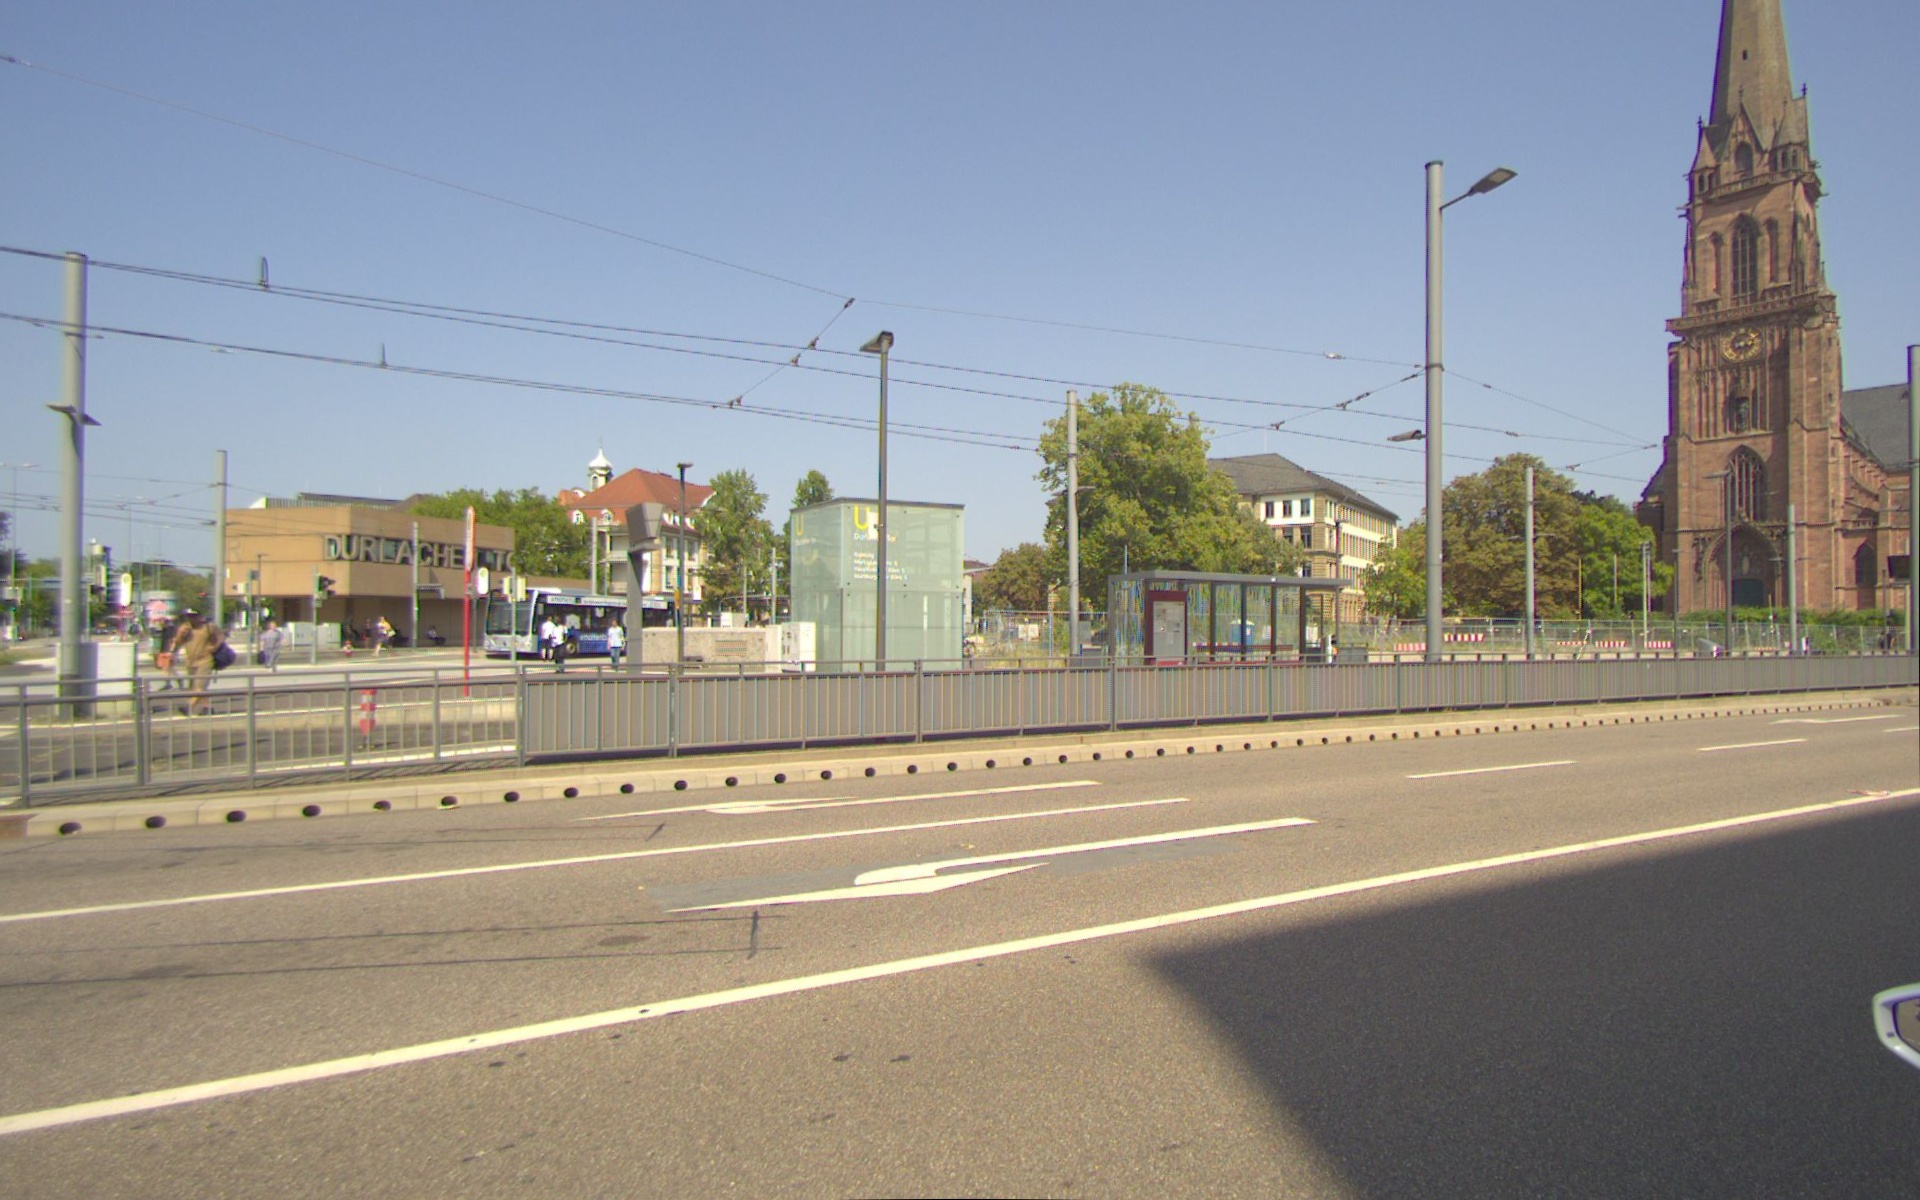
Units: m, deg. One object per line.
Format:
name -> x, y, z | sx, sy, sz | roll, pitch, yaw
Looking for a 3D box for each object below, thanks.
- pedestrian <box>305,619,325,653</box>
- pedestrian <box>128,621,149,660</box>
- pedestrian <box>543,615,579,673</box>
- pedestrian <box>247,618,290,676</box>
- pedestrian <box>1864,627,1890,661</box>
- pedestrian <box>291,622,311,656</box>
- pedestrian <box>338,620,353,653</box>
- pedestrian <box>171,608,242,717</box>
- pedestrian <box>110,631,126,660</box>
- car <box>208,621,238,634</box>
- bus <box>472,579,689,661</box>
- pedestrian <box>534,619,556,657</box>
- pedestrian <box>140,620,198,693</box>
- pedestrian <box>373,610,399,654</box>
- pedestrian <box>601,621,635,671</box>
pedestrian -> -32.825, 1.840, 51.129 | 0.567, 1.698, 0.587 | -2, 0, 17
pedestrian -> -39.201, 1.927, 47.940 | 0.549, 1.840, 0.561 | -1, -1, 17
pedestrian -> -12.237, 1.334, 30.838 | 0.768, 1.751, 0.679 | 0, -1, 11
pedestrian -> -21.698, 1.472, 31.519 | 0.947, 1.803, 0.780 | 2, -2, -26
pedestrian -> 48.053, 2.311, 52.635 | 0.711, 1.775, 0.826 | 2, -2, -28
pedestrian -> -33.062, 1.940, 50.392 | 0.567, 1.698, 0.587 | -2, 0, 17
pedestrian -> -31.450, 1.847, 51.382 | 0.564, 1.667, 0.508 | -1, 0, -26
pedestrian -> -12.155, 0.984, 16.211 | 0.566, 1.681, 0.796 | -1, 0, 43
pedestrian -> -39.618, 2.134, 47.251 | 0.342, 1.393, 0.462 | -1, -1, 17
car -> -100.996, 3.765, 137.704 | 1.873, 1.675, 4.638 | 0, -2, -18
bus -> -17.495, 0.948, 47.949 | 2.623, 3.375, 12.764 | 0, -1, 15
pedestrian -> -17.185, 1.555, 41.581 | 0.588, 1.549, 0.577 | 1, -2, 14
pedestrian -> -20.004, 1.427, 25.415 | 0.947, 1.803, 0.780 | 2, -2, -26
pedestrian -> -24.097, 1.341, 42.165 | 0.774, 1.803, 0.954 | 2, -2, -23
pedestrian -> -11.113, 1.484, 32.614 | 0.768, 1.569, 0.679 | 1, -1, 11
